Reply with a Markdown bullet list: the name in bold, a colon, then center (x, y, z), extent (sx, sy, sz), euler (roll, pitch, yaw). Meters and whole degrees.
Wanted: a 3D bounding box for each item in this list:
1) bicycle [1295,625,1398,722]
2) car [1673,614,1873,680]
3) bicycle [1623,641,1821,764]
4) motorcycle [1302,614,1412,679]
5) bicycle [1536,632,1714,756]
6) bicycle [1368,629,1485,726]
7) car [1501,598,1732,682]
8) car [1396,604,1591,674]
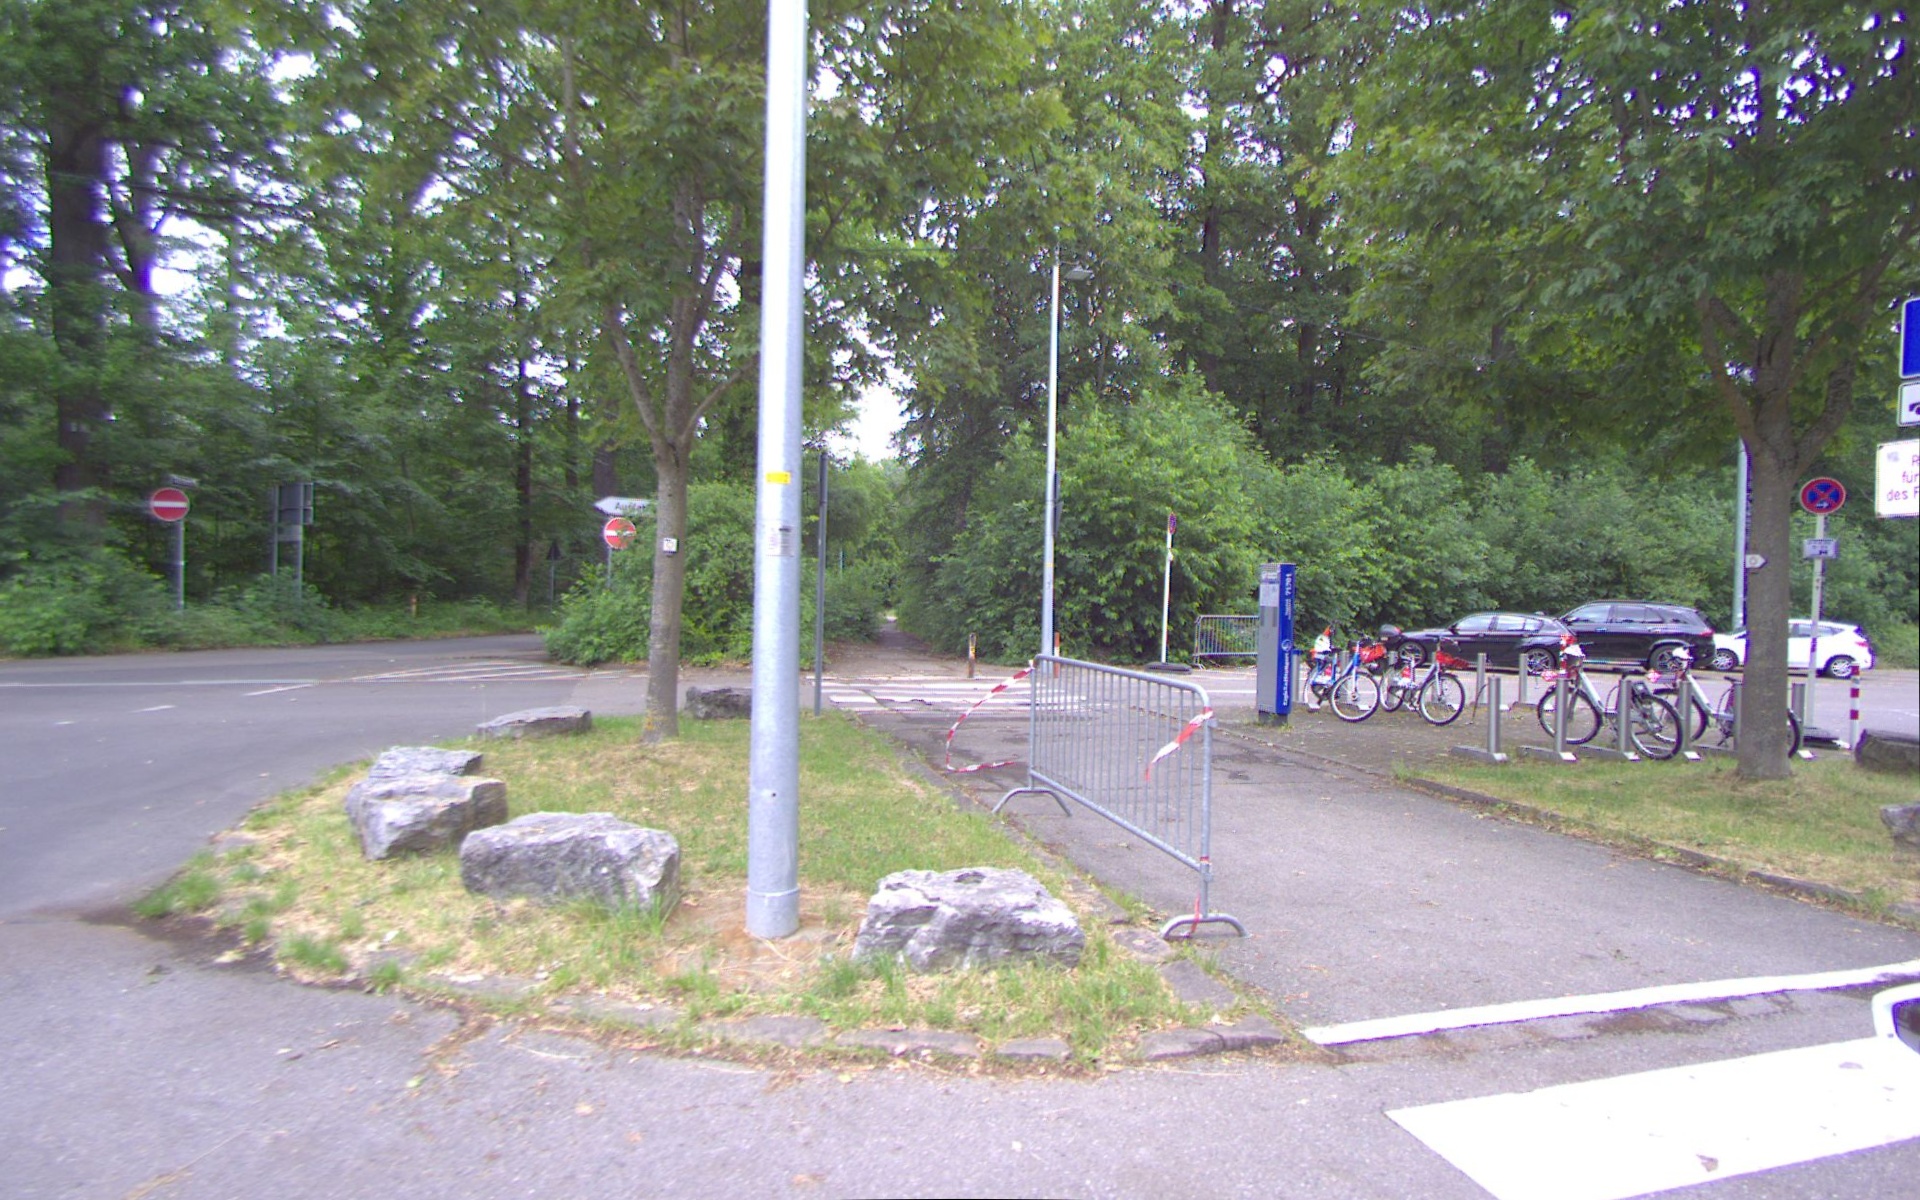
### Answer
- **bicycle**: center (5.058, 0.934, 13.244), extent (0.474, 1.126, 1.695), euler (2, 0, -8)
- **car**: center (21.931, 1.212, 27.317), extent (3.928, 1.531, 1.866), euler (2, 0, 30)
- **bicycle**: center (8.128, 1.054, 10.823), extent (0.474, 1.126, 1.784), euler (2, 0, -12)
- **motorcycle**: center (8.396, 0.964, 21.289), extent (1.998, 1.224, 0.727), euler (2, 1, 40)
- **bicycle**: center (6.956, 0.949, 10.608), extent (0.474, 1.126, 1.681), euler (2, 0, -12)
- **bicycle**: center (6.132, 0.983, 13.293), extent (0.497, 1.126, 1.682), euler (2, 0, -10)
- **car**: center (16.217, 0.930, 25.156), extent (4.624, 1.790, 2.108), euler (2, 0, 30)
- **car**: center (12.633, 0.877, 23.920), extent (3.928, 1.394, 1.737), euler (2, 0, 30)
